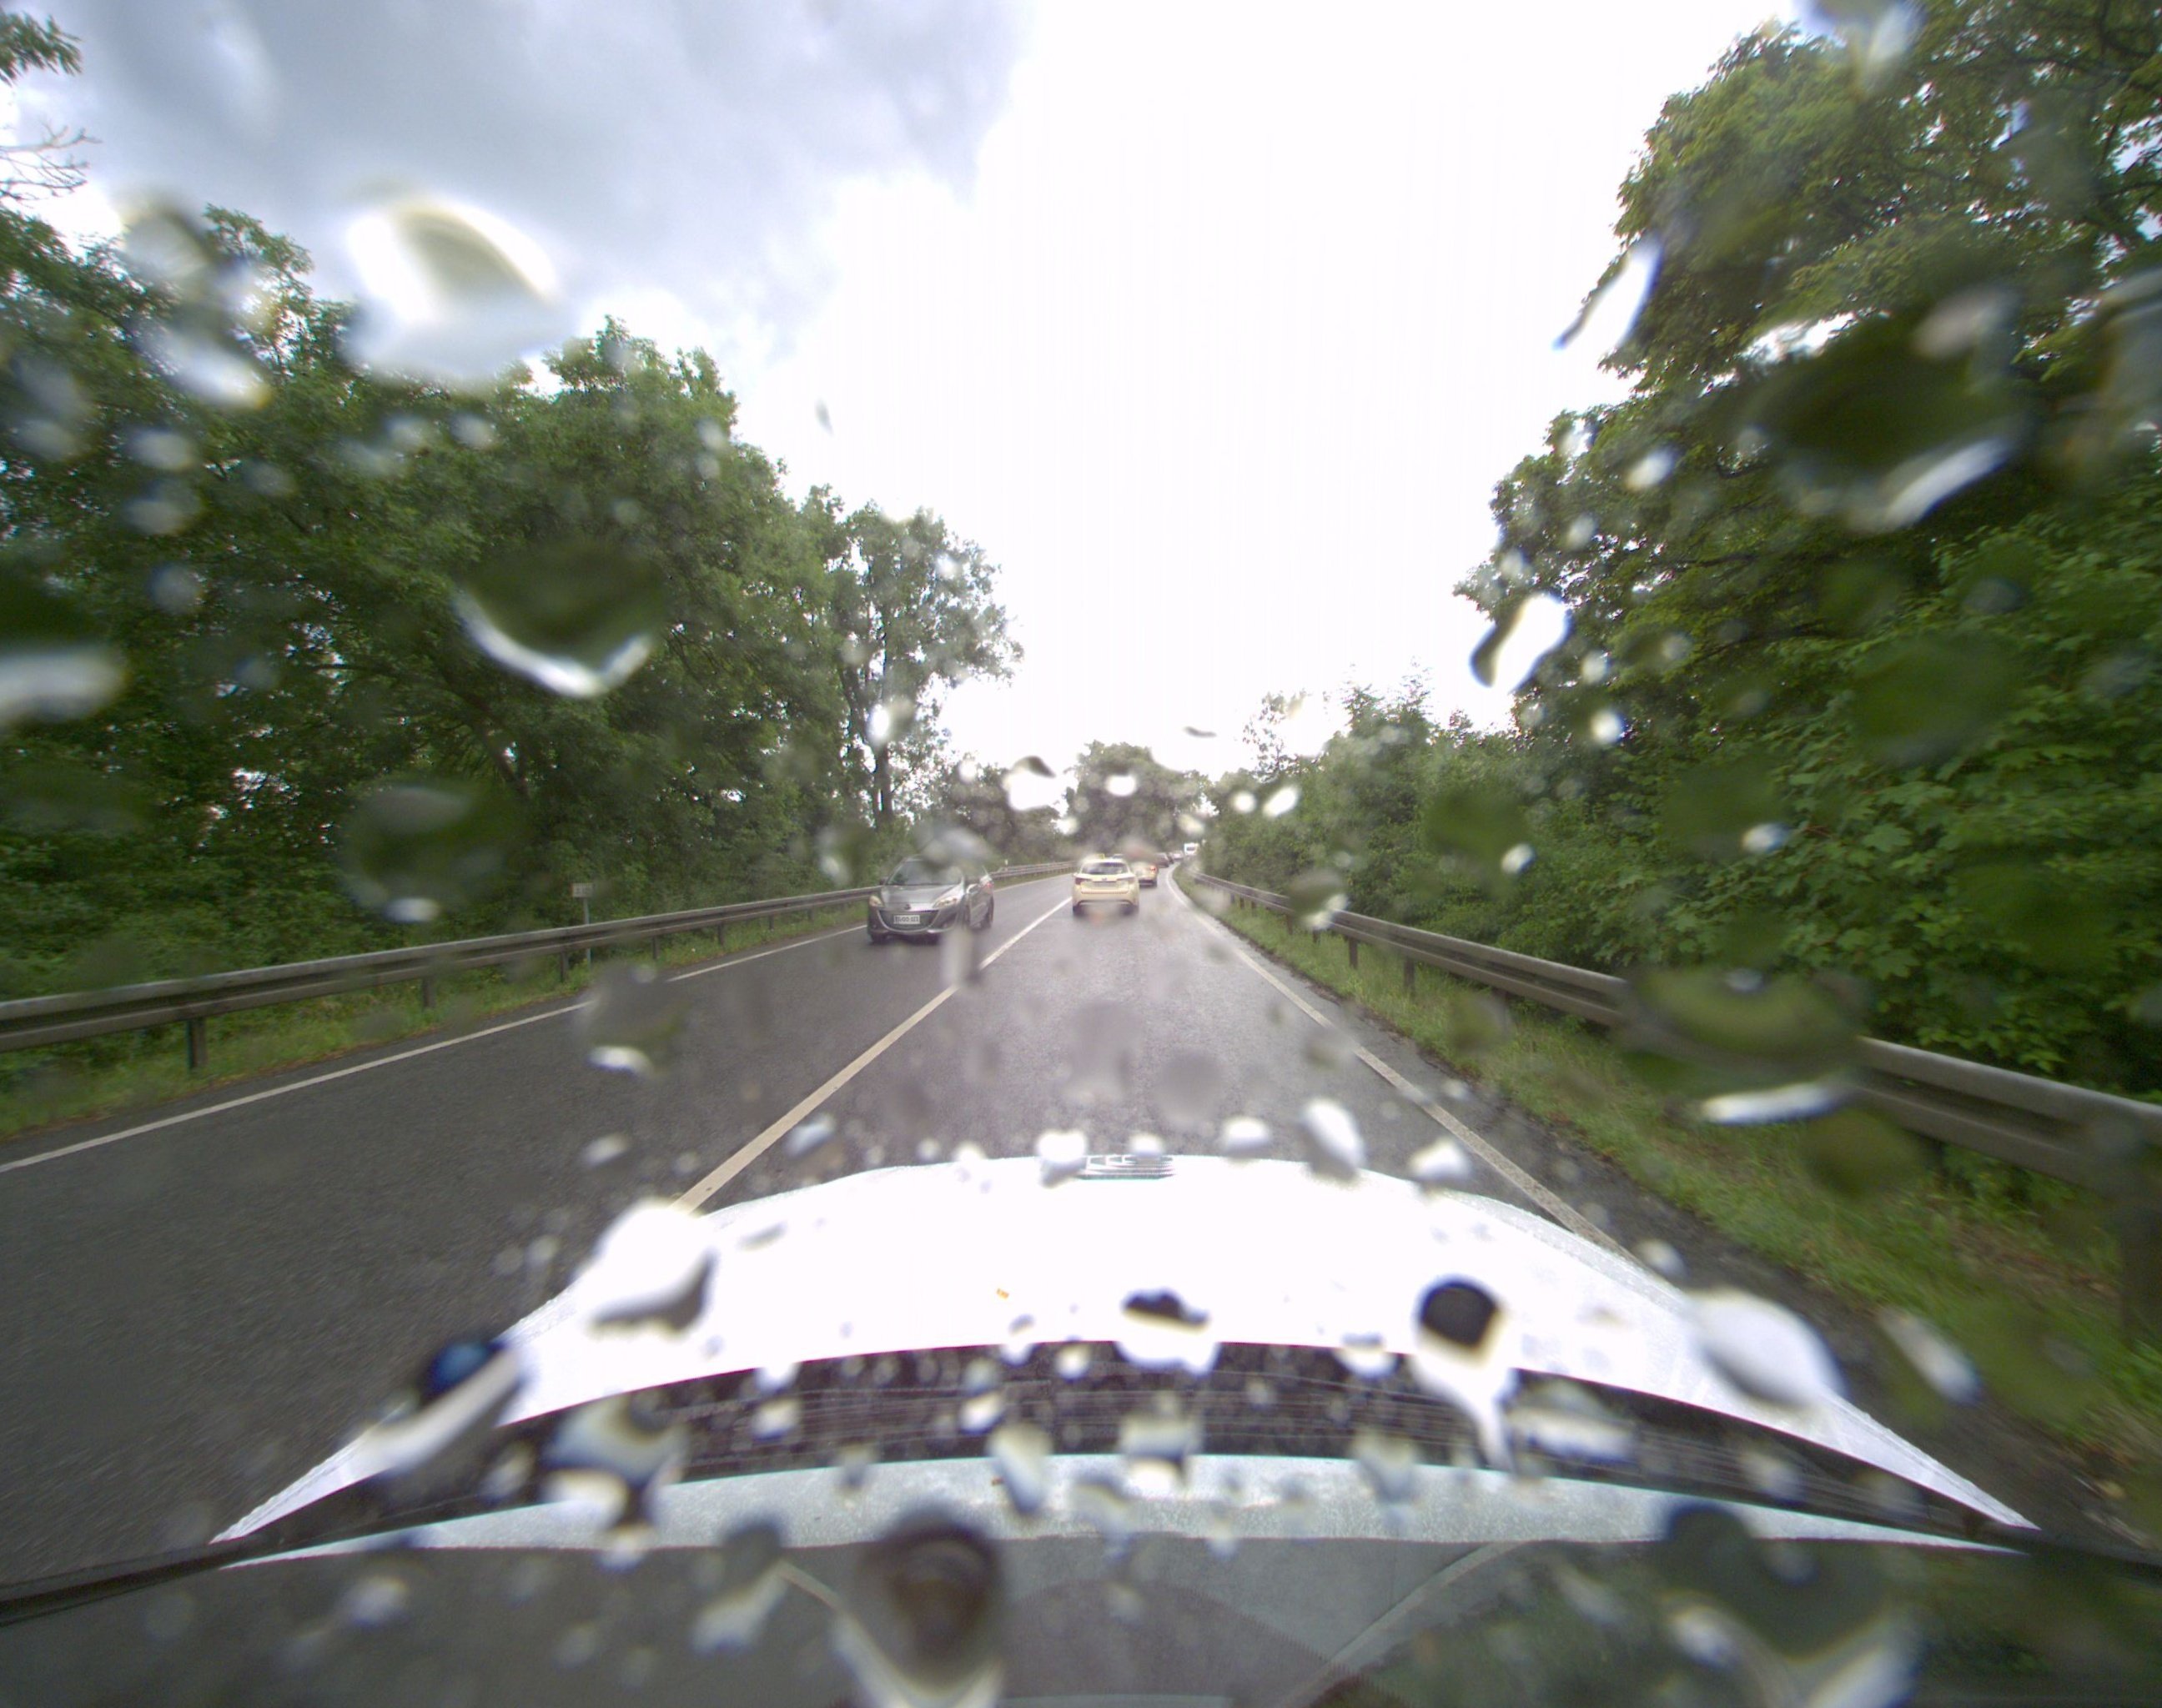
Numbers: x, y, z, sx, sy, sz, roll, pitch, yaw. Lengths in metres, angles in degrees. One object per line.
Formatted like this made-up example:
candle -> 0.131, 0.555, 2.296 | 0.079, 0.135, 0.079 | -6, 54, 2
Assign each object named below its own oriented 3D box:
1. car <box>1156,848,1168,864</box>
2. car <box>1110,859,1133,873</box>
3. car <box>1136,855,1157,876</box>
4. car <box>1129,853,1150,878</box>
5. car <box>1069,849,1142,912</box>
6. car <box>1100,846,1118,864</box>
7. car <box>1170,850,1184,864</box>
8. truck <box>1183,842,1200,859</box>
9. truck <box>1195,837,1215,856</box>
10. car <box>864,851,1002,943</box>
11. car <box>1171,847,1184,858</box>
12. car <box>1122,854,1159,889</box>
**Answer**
car -> 8.203, 0.201, 82.594 | 1.161, 1.547, 2.609 | -1, -1, 7
car -> 4.158, 1.198, 83.262 | 1.801, 1.355, 4.012 | -1, -1, 11
car -> 5.148, 0.949, 63.968 | 1.604, 1.547, 3.817 | -1, -2, 4
car -> 3.733, 0.741, 52.279 | 1.295, 1.547, 3.262 | -1, -1, 3
car -> 0.740, 0.716, 22.746 | 1.826, 1.580, 4.159 | -1, -1, 3
car -> 3.267, 0.137, 95.420 | 1.985, 2.014, 4.004 | -1, -1, 4
car -> 11.392, 0.383, 96.940 | 1.607, 1.613, 3.628 | -1, -1, 7
truck -> 19.609, -0.559, 144.834 | 2.537, 2.713, 7.546 | -1, -1, 5
truck -> 26.148, -1.499, 171.655 | 3.082, 3.681, 7.031 | -1, -1, 18
car -> -2.768, 0.737, 16.253 | 1.685, 1.574, 4.379 | -1, 0, 4
car -> 13.834, -0.175, 116.595 | 1.759, 1.547, 3.824 | -1, -1, 10
car -> 2.868, 0.844, 39.093 | 1.660, 1.580, 3.896 | -1, -1, 4
